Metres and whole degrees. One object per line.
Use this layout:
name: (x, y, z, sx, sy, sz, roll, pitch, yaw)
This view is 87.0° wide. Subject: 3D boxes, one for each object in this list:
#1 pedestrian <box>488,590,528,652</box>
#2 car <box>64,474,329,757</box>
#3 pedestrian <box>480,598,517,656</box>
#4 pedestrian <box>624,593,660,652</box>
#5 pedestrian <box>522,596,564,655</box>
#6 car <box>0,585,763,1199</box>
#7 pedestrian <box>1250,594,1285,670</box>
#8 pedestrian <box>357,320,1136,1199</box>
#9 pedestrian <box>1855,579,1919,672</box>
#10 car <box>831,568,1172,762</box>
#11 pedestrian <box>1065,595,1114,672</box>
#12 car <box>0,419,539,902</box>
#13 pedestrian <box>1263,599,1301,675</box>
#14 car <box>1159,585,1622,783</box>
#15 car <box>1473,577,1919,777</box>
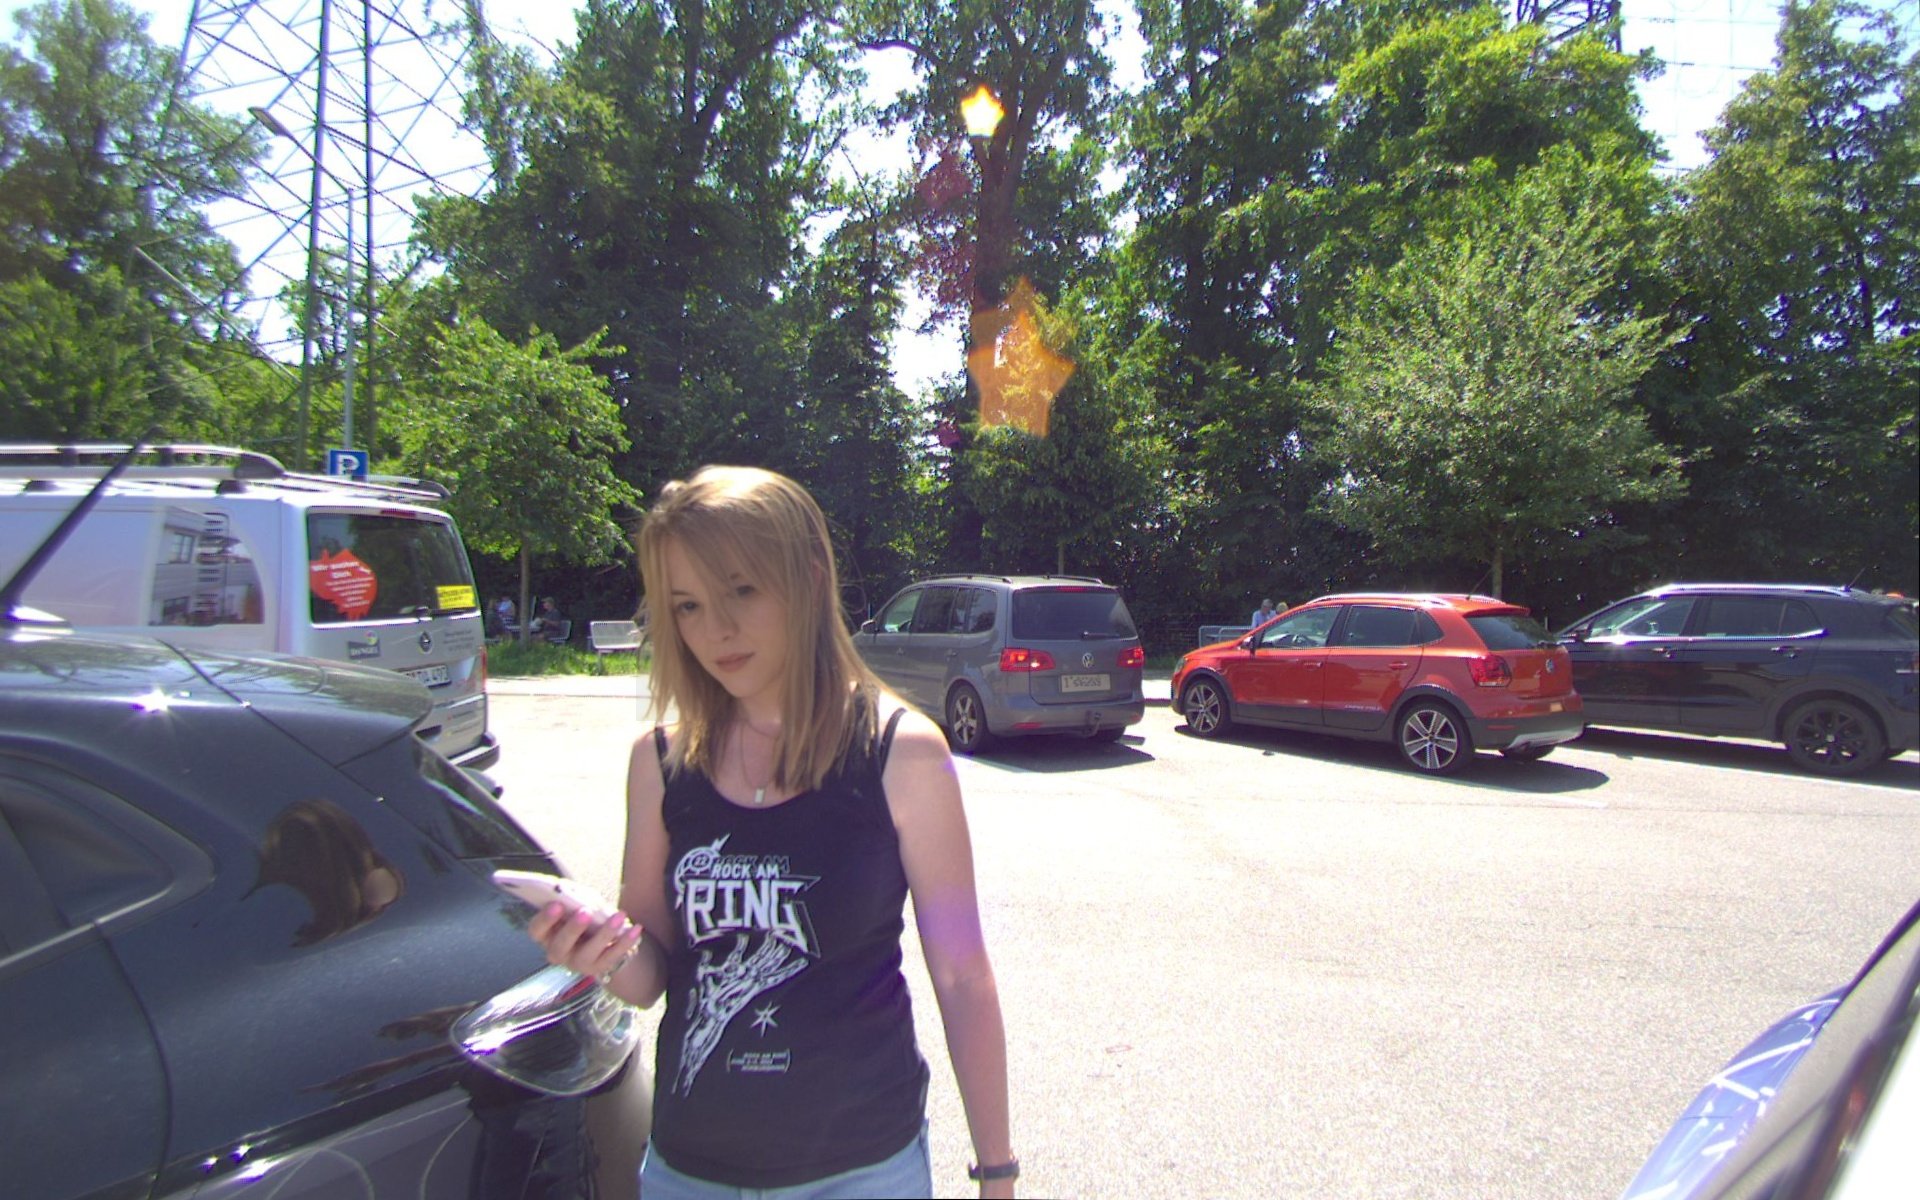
pedestrian: (-10.947, 0.495, 24.514, 0.722, 1.478, 0.669, 1, -1, -39)
car: (-8.067, 0.092, 10.626, 1.885, 2.353, 4.089, 0, 1, -40)
pedestrian: (-10.435, 0.602, 22.880, 0.630, 1.287, 0.579, 1, -1, -39)
pedestrian: (-6.686, 0.468, 21.303, 0.550, 1.229, 0.599, 1, -1, -1)
pedestrian: (-9.715, 0.587, 23.577, 0.722, 1.343, 0.669, 1, -1, -39)
car: (-2.129, 0.719, 0.587, 1.615, 1.503, 3.706, 0, -1, 44)
pedestrian: (5.768, 0.593, 19.019, 0.495, 1.393, 0.491, 1, -1, 0)
pedestrian: (-0.238, 0.591, 1.168, 0.640, 1.606, 0.650, 1, -1, -15)
pedestrian: (13.929, 0.371, 14.846, 0.846, 1.316, 0.894, 1, -1, -18)
car: (0.216, 0.503, 10.550, 1.717, 1.611, 3.961, 0, 1, -30)
pedestrian: (2.146, 0.558, 16.854, 0.660, 1.235, 0.682, 1, -2, -5)
car: (-5.375, 0.218, 5.704, 5.215, 2.177, 1.999, 1, 1, 3)
pedestrian: (5.687, 0.643, 17.895, 0.495, 1.316, 0.491, 1, -1, 0)
car: (3.846, 0.607, 9.642, 1.604, 1.476, 3.810, 0, 1, -34)
car: (7.237, 0.578, 9.674, 1.727, 1.566, 3.806, 0, 1, -39)
